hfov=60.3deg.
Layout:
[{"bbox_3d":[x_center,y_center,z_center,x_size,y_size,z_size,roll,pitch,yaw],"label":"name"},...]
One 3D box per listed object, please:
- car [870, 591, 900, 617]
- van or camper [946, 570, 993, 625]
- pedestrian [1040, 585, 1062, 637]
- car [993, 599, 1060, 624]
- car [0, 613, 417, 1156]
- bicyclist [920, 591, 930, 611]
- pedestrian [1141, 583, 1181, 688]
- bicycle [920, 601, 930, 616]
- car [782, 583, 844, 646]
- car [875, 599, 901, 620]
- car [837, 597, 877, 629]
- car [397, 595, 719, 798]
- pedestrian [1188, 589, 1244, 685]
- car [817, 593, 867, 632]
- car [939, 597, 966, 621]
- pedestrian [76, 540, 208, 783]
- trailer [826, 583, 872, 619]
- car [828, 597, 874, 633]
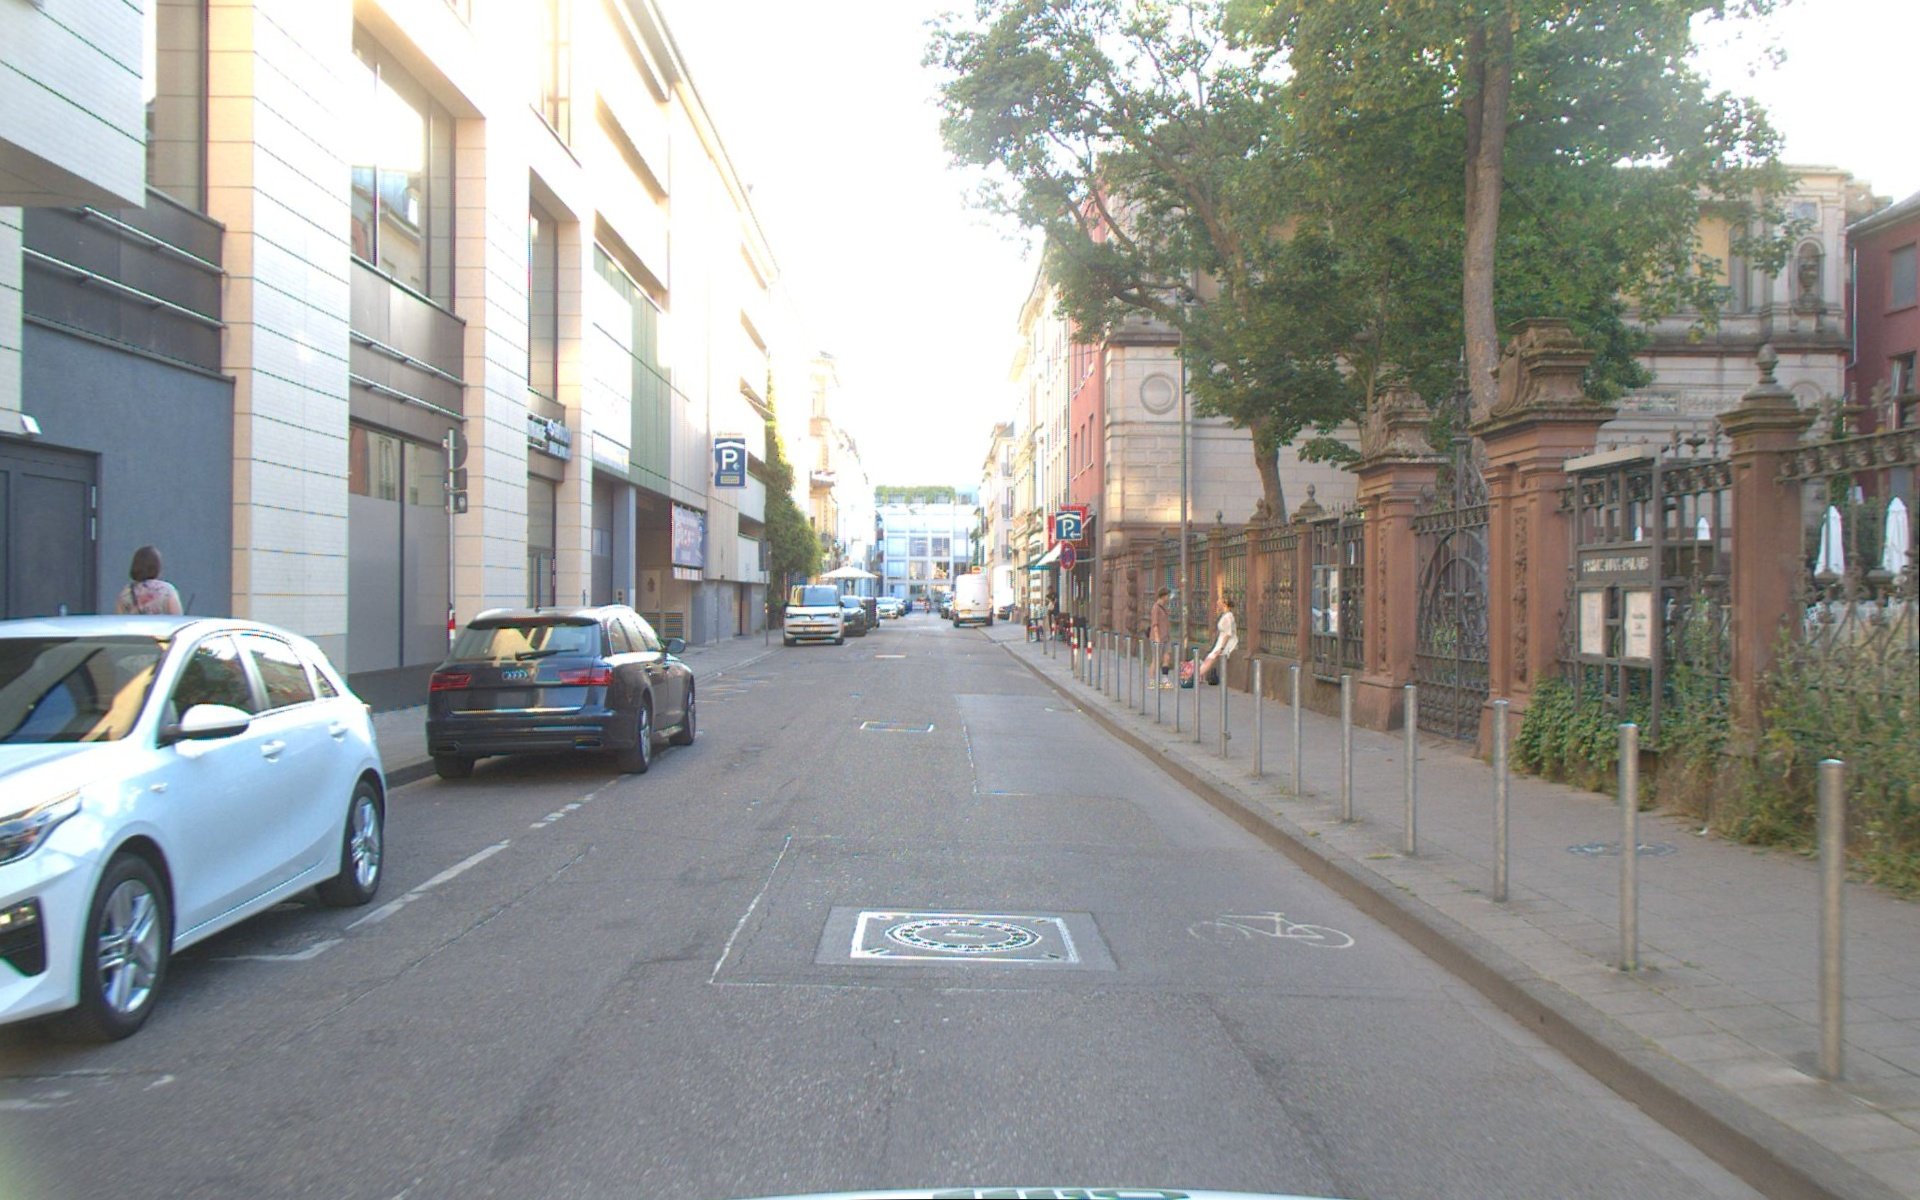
[{"bbox_3d":[-5.132,0.265,113.409,1.953,1.713,3.999,1,-1,-1],"label":"car"},{"bbox_3d":[0.459,-0.092,87.492,2.212,2.652,5.110,-4,-1,-1],"label":"van or camper"},{"bbox_3d":[2.994,0.360,54.394,0.648,1.695,0.624,-2,0,-1],"label":"pedestrian"},{"bbox_3d":[3.936,0.690,98.245,3.906,1.445,1.656,1,-1,-1],"label":"car"},{"bbox_3d":[-3.661,0.817,6.620,1.742,1.478,4.228,0,0,-3],"label":"car"},{"bbox_3d":[-3.269,0.107,155.362,0.970,1.901,0.708,1,-1,-1],"label":"bicyclist"},{"bbox_3d":[3.284,0.566,27.090,0.475,1.687,0.617,-1,0,-8],"label":"pedestrian"},{"bbox_3d":[-3.270,0.806,155.486,0.955,1.303,2.753,1,-1,-1],"label":"bicycle"},{"bbox_3d":[-4.754,0.454,54.048,1.846,1.945,4.745,0,0,-3],"label":"car"},{"bbox_3d":[-5.900,0.772,136.018,1.953,1.713,3.999,1,-1,-1],"label":"car"},{"bbox_3d":[-4.891,0.623,79.032,1.846,1.478,3.998,0,0,-3],"label":"car"},{"bbox_3d":[-3.586,0.772,15.701,1.844,1.626,4.690,0,0,1],"label":"car"},{"bbox_3d":[4.159,0.593,26.946,0.735,1.526,0.618,-1,0,-7],"label":"pedestrian"},{"bbox_3d":[-4.639,0.465,65.275,1.846,1.478,3.998,0,0,-3],"label":"car"},{"bbox_3d":[-0.592,0.693,123.965,1.953,1.713,3.999,1,-1,-1],"label":"car"},{"bbox_3d":[-6.131,0.452,12.424,0.658,1.775,0.647,0,0,-1],"label":"pedestrian"},{"bbox_3d":[-4.970,0.069,74.498,1.953,1.584,3.998,1,-1,-3],"label":"trailer"},{"bbox_3d":[-4.624,0.637,70.454,1.846,1.478,3.998,0,0,-3],"label":"car"}]
